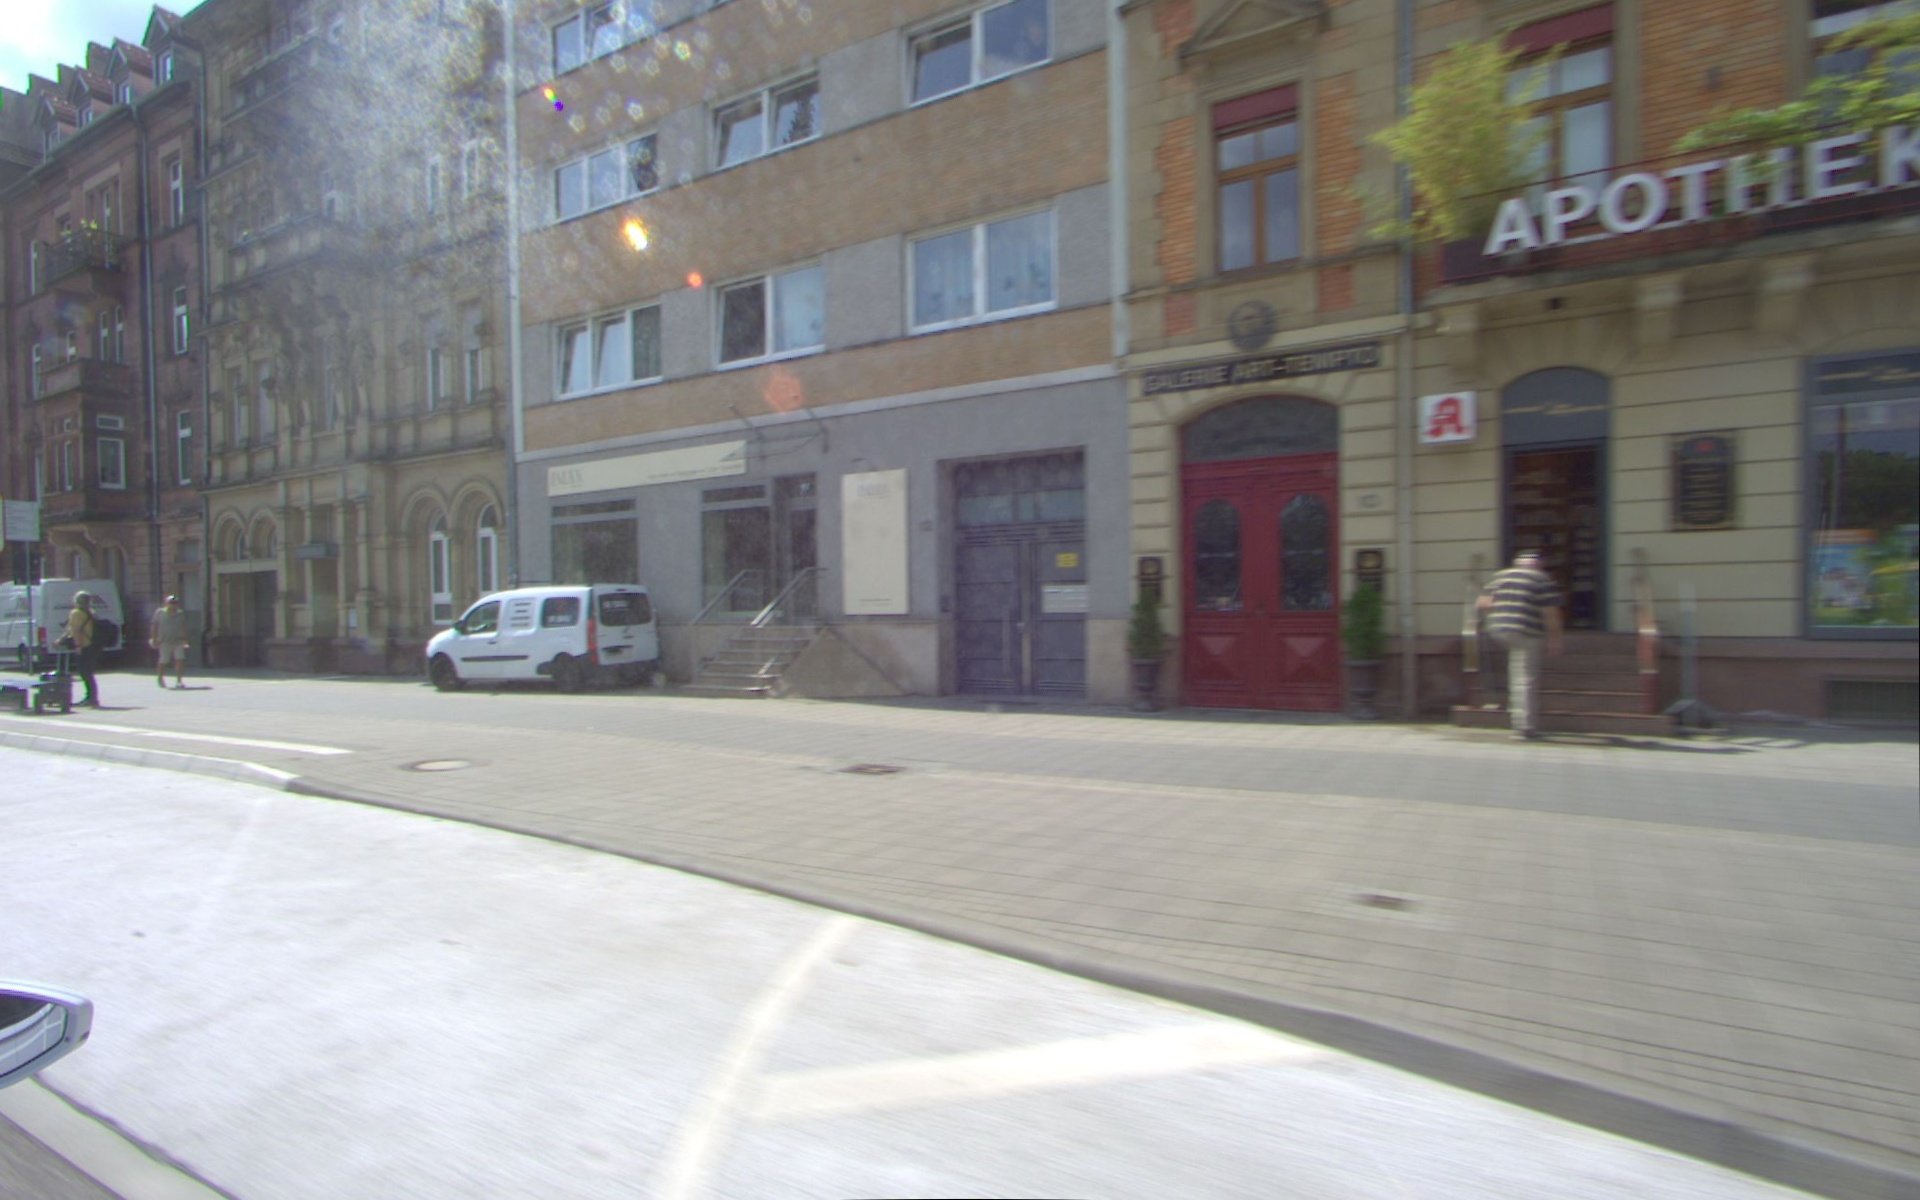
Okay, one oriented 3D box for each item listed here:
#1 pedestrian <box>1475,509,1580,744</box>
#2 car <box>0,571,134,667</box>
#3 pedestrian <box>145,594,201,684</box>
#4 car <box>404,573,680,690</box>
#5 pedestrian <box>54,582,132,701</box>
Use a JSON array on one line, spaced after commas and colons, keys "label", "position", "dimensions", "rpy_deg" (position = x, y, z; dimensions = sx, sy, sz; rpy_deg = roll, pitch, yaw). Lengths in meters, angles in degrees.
[{"label": "pedestrian", "position": [5.404, 0.233, 9.534], "dimensions": [0.774, 2.128, 0.720], "rpy_deg": [2, 2, 32]}, {"label": "car", "position": [-26.544, 0.540, 29.220], "dimensions": [5.803, 2.559, 1.990], "rpy_deg": [-1, 0, 32]}, {"label": "pedestrian", "position": [-16.539, 0.806, 21.049], "dimensions": [0.683, 1.861, 0.662], "rpy_deg": [-1, 1, 25]}, {"label": "car", "position": [-7.579, 0.571, 18.122], "dimensions": [4.677, 1.886, 1.993], "rpy_deg": [-1, 0, 26]}, {"label": "pedestrian", "position": [-14.397, 0.682, 16.645], "dimensions": [0.681, 1.928, 0.664], "rpy_deg": [-1, 1, 13]}]
